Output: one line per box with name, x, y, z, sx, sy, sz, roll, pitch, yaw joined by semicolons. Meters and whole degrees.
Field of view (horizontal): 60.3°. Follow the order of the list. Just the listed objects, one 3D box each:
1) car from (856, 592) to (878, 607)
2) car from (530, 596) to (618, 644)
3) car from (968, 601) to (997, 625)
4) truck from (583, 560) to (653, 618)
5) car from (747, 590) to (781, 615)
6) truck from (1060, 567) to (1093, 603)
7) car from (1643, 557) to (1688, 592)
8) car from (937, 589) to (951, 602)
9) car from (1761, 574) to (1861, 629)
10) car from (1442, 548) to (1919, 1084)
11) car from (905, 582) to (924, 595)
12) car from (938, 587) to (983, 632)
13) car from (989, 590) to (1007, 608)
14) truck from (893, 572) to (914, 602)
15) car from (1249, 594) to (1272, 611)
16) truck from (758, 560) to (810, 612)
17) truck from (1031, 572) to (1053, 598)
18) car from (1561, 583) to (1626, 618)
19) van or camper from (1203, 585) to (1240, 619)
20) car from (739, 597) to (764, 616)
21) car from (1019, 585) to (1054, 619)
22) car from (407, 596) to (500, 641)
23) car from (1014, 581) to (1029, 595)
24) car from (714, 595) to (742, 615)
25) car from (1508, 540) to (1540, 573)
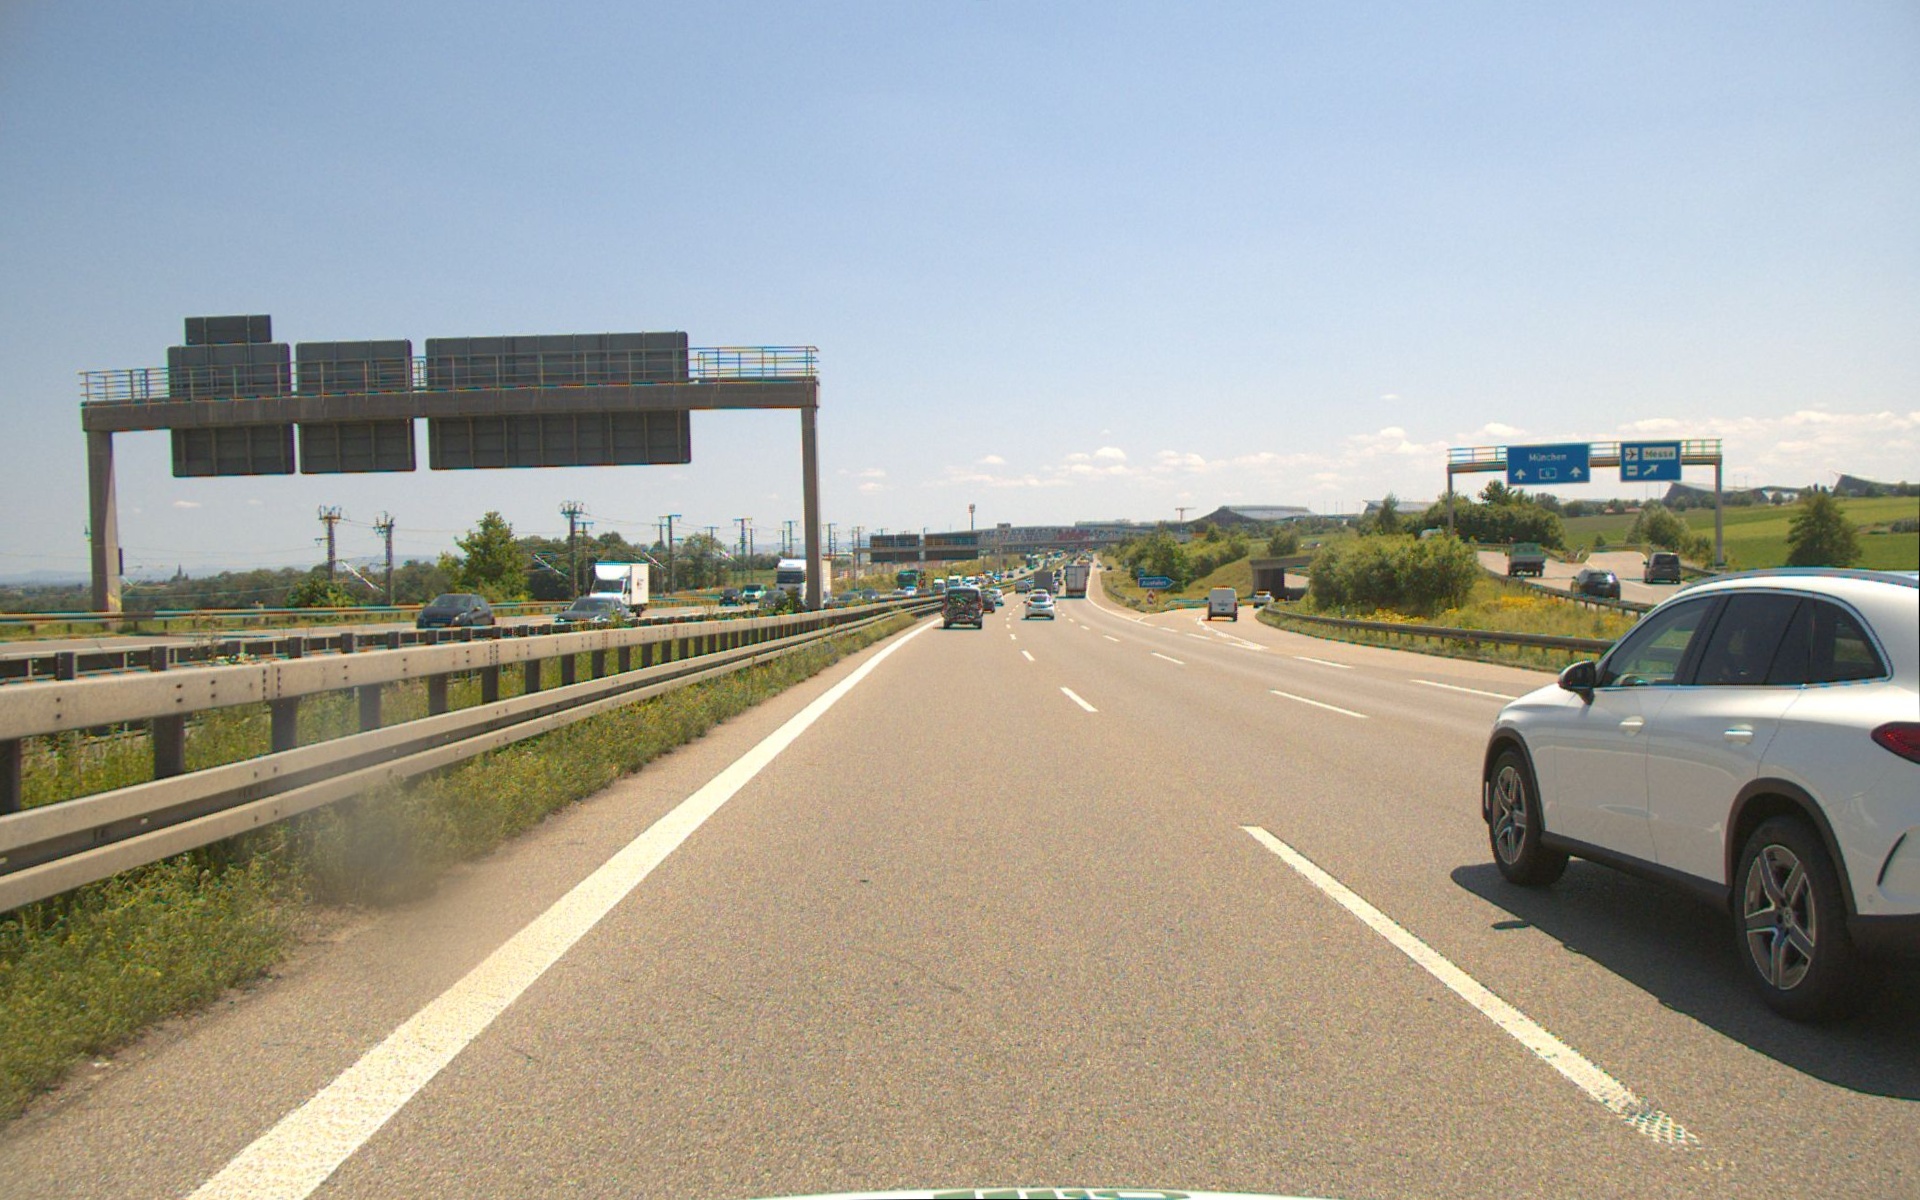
car;-9.478;-0.013;168.771;1.803;1.486;4.998;0;0;1
car;-12.696;0.630;54.674;1.753;1.490;4.859;0;0;0
car;1.615;0.950;117.936;1.886;1.656;4.519;0;-1;3
truck;-19.626;-0.619;95.433;2.272;3.223;8.113;0;0;1
car;-12.555;0.137;105.981;1.706;1.588;4.000;0;0;0
truck;14.957;-1.979;213.830;3.955;4.336;11.763;0;2;3
car;41.736;-1.499;97.862;1.898;1.957;4.182;0;-1;15
car;-2.217;-0.631;231.325;1.719;1.772;4.722;1;0;1
car;31.199;0.070;60.760;1.898;1.957;4.182;0;-1;6
car;3.885;0.705;7.465;1.860;1.676;4.997;0;-1;-1
car;-5.135;-1.275;187.334;1.803;1.486;4.998;0;0;1
car;0.038;0.430;74.005;1.887;1.952;4.948;0;-1;1
car;3.510;-0.074;154.116;1.543;1.579;3.965;0;-1;3
truck;-8.238;-1.852;243.135;2.702;4.319;6.978;0;-1;1
car;31.868;0.253;175.419;1.951;1.780;4.002;0;-1;16
truck;-14.938;-1.162;140.933;3.180;4.283;7.696;0;0;3
truck;10.484;-1.875;211.521;2.646;3.163;10.662;0;-1;3
car;29.909;0.038;78.146;1.951;1.624;4.003;0;-1;7
van or camper;16.322;0.136;103.027;2.110;2.049;4.308;0;-1;11
car;-20.138;0.605;160.047;1.767;1.779;4.001;0;-1;2
car;4.507;0.128;97.754;1.887;1.952;4.518;0;-1;1
car;-16.871;0.596;55.308;1.866;1.445;4.000;0;0;0
car;9.102;-1.804;246.239;2.141;2.038;4.001;1;0;1
car;-20.831;0.486;148.630;1.767;1.779;4.001;0;-1;2
car;37.713;-2.870;110.537;1.952;2.049;4.000;0;-1;20
